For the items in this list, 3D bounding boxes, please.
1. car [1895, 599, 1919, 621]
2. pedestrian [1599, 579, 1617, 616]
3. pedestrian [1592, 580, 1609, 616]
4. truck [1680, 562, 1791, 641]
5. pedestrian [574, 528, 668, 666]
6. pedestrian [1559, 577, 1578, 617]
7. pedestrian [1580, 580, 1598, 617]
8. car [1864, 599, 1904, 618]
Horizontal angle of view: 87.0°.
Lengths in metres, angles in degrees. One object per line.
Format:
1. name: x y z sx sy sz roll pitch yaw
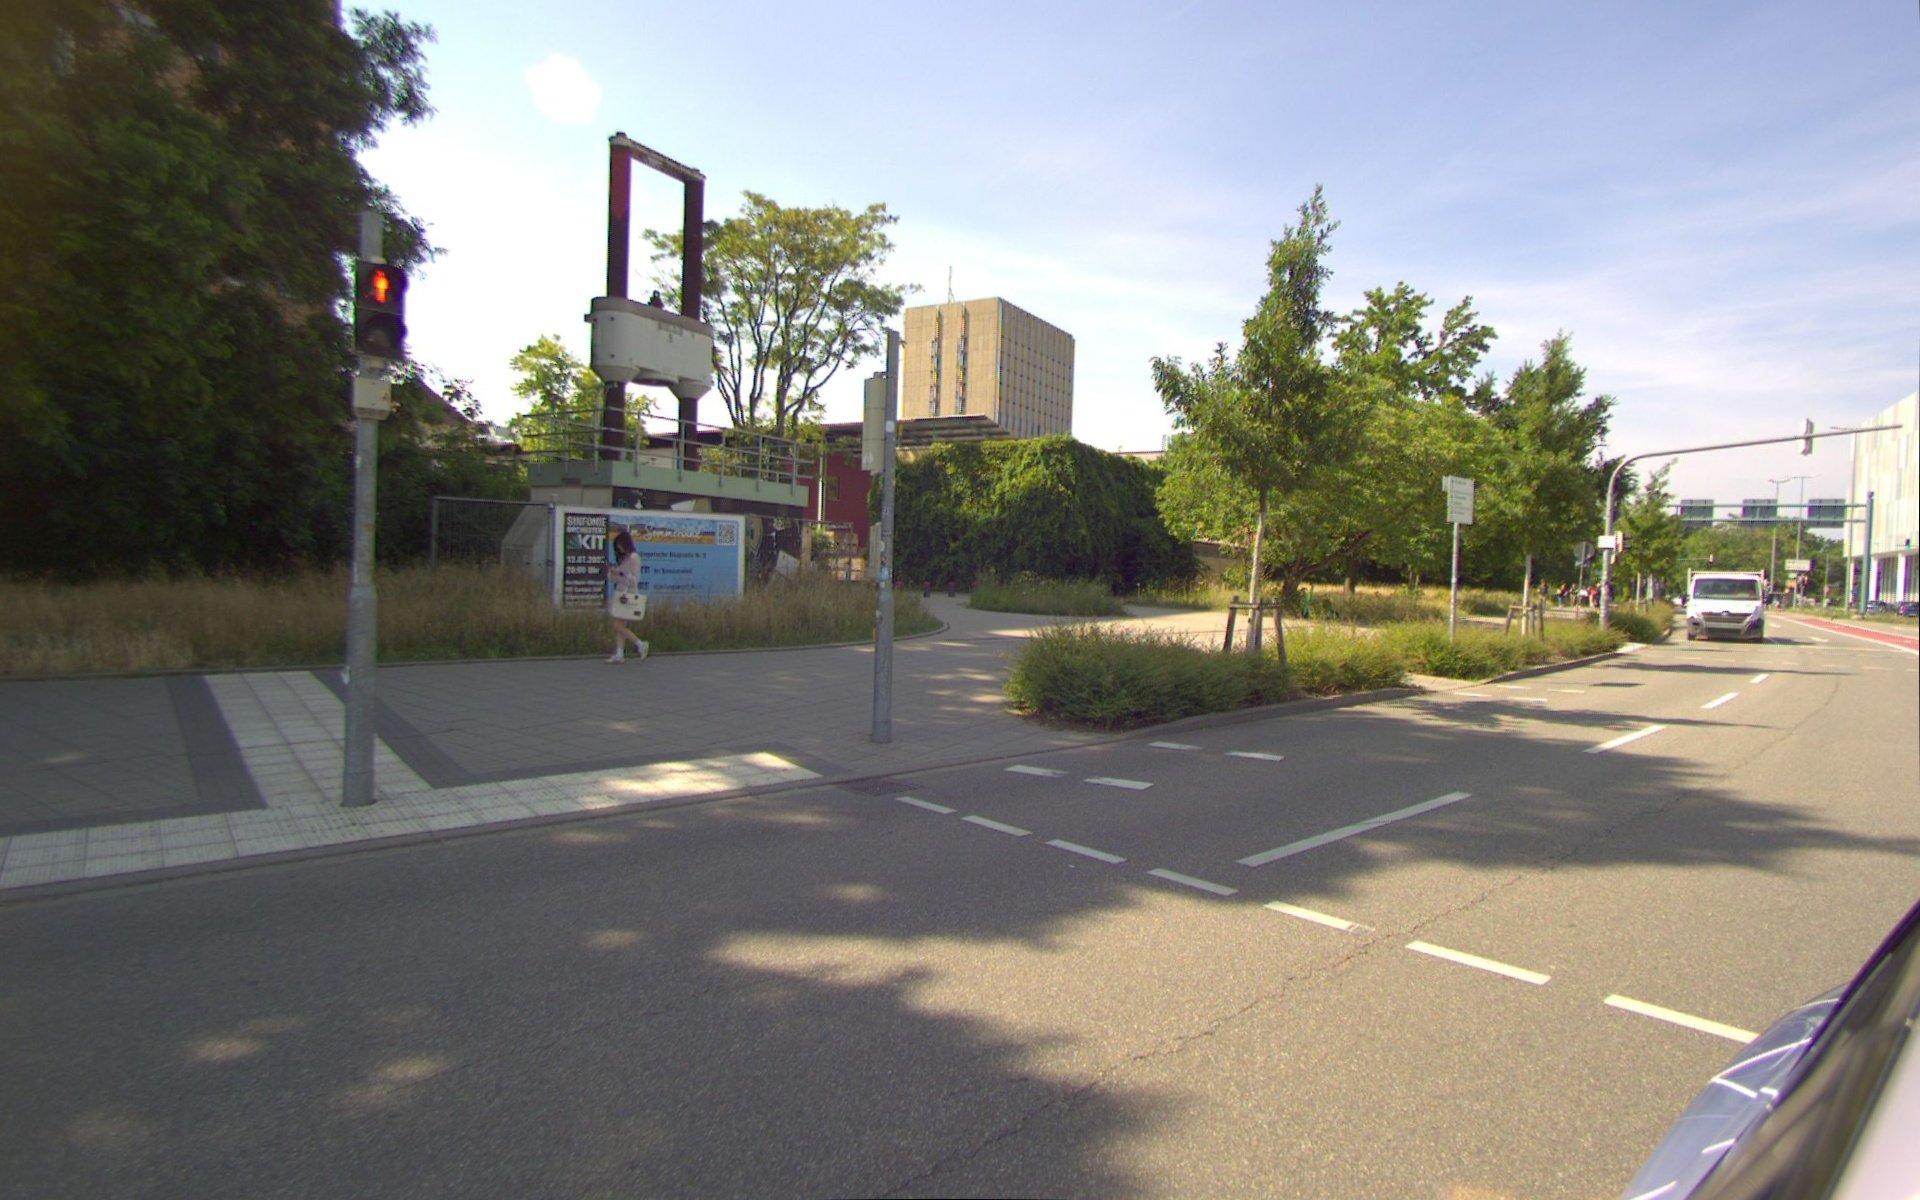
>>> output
1. car: 72.216 0.762 76.220 1.785 1.529 3.957 1 1 30
2. pedestrian: 46.177 -0.173 72.150 0.947 2.565 1.110 3 -1 33
3. pedestrian: 46.573 -0.151 73.613 0.947 2.565 1.110 3 -1 33
4. truck: 26.282 -0.037 34.562 2.396 2.385 6.965 1 2 33
5. pedestrian: -4.113 -0.052 12.294 0.688 1.599 0.804 3 2 34
6. pedestrian: 39.985 -0.201 66.517 0.947 2.565 1.110 3 -1 33
7. pedestrian: 45.281 -0.089 72.841 0.947 2.565 1.110 3 -1 33
8. car: 80.524 0.717 88.246 1.785 1.529 3.957 1 1 30
